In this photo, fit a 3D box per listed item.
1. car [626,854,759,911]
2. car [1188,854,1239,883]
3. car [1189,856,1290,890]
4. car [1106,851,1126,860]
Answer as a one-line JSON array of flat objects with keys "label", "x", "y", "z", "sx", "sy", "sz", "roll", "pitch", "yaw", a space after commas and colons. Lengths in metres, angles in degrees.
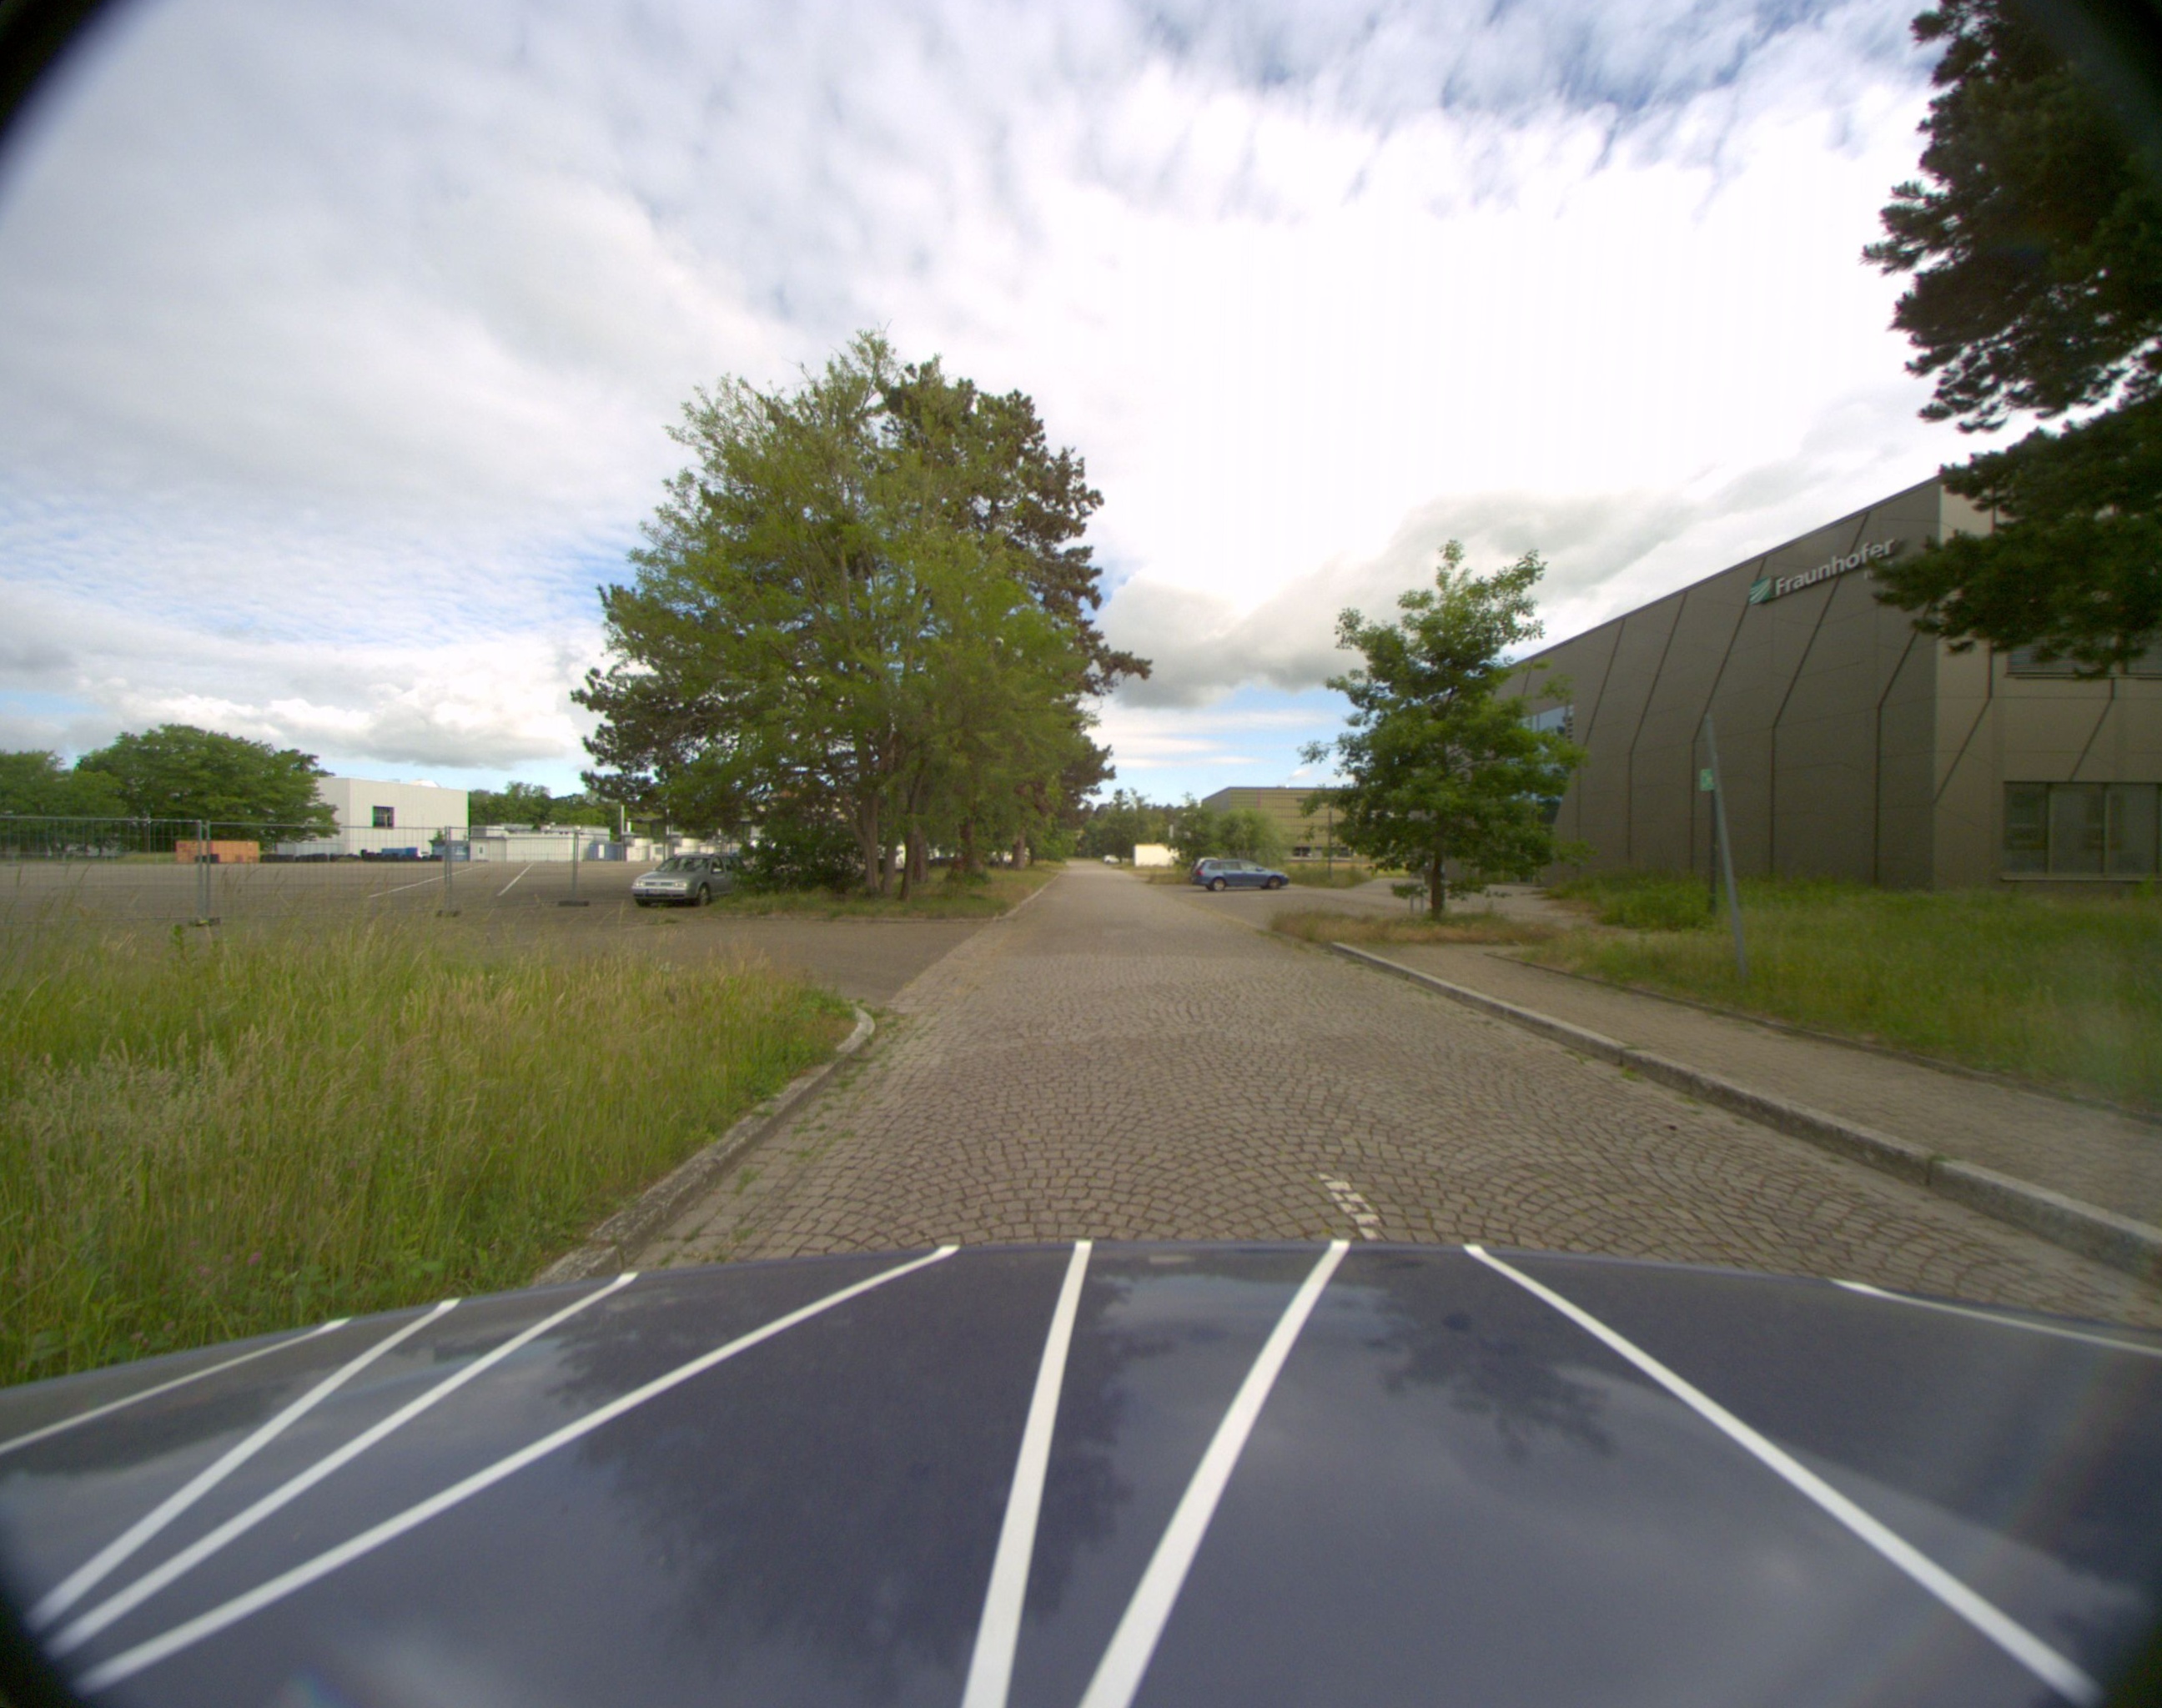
[{"label": "car", "x": -10.973, "y": 0.732, "z": 21.853, "sx": 1.678, "sy": 1.442, "sz": 4.488, "roll": 0, "pitch": 1, "yaw": -2}, {"label": "car", "x": 7.571, "y": 0.817, "z": 43.639, "sx": 2.584, "sy": 1.521, "sz": 1.500, "roll": -2, "pitch": 1, "yaw": -2}, {"label": "car", "x": 7.535, "y": 0.881, "z": 36.270, "sx": 4.427, "sy": 1.461, "sz": 1.633, "roll": -2, "pitch": 1, "yaw": -2}, {"label": "car", "x": 7.219, "y": 0.325, "z": 156.068, "sx": 4.062, "sy": 1.767, "sz": 1.792, "roll": 0, "pitch": 1, "yaw": 0}]
